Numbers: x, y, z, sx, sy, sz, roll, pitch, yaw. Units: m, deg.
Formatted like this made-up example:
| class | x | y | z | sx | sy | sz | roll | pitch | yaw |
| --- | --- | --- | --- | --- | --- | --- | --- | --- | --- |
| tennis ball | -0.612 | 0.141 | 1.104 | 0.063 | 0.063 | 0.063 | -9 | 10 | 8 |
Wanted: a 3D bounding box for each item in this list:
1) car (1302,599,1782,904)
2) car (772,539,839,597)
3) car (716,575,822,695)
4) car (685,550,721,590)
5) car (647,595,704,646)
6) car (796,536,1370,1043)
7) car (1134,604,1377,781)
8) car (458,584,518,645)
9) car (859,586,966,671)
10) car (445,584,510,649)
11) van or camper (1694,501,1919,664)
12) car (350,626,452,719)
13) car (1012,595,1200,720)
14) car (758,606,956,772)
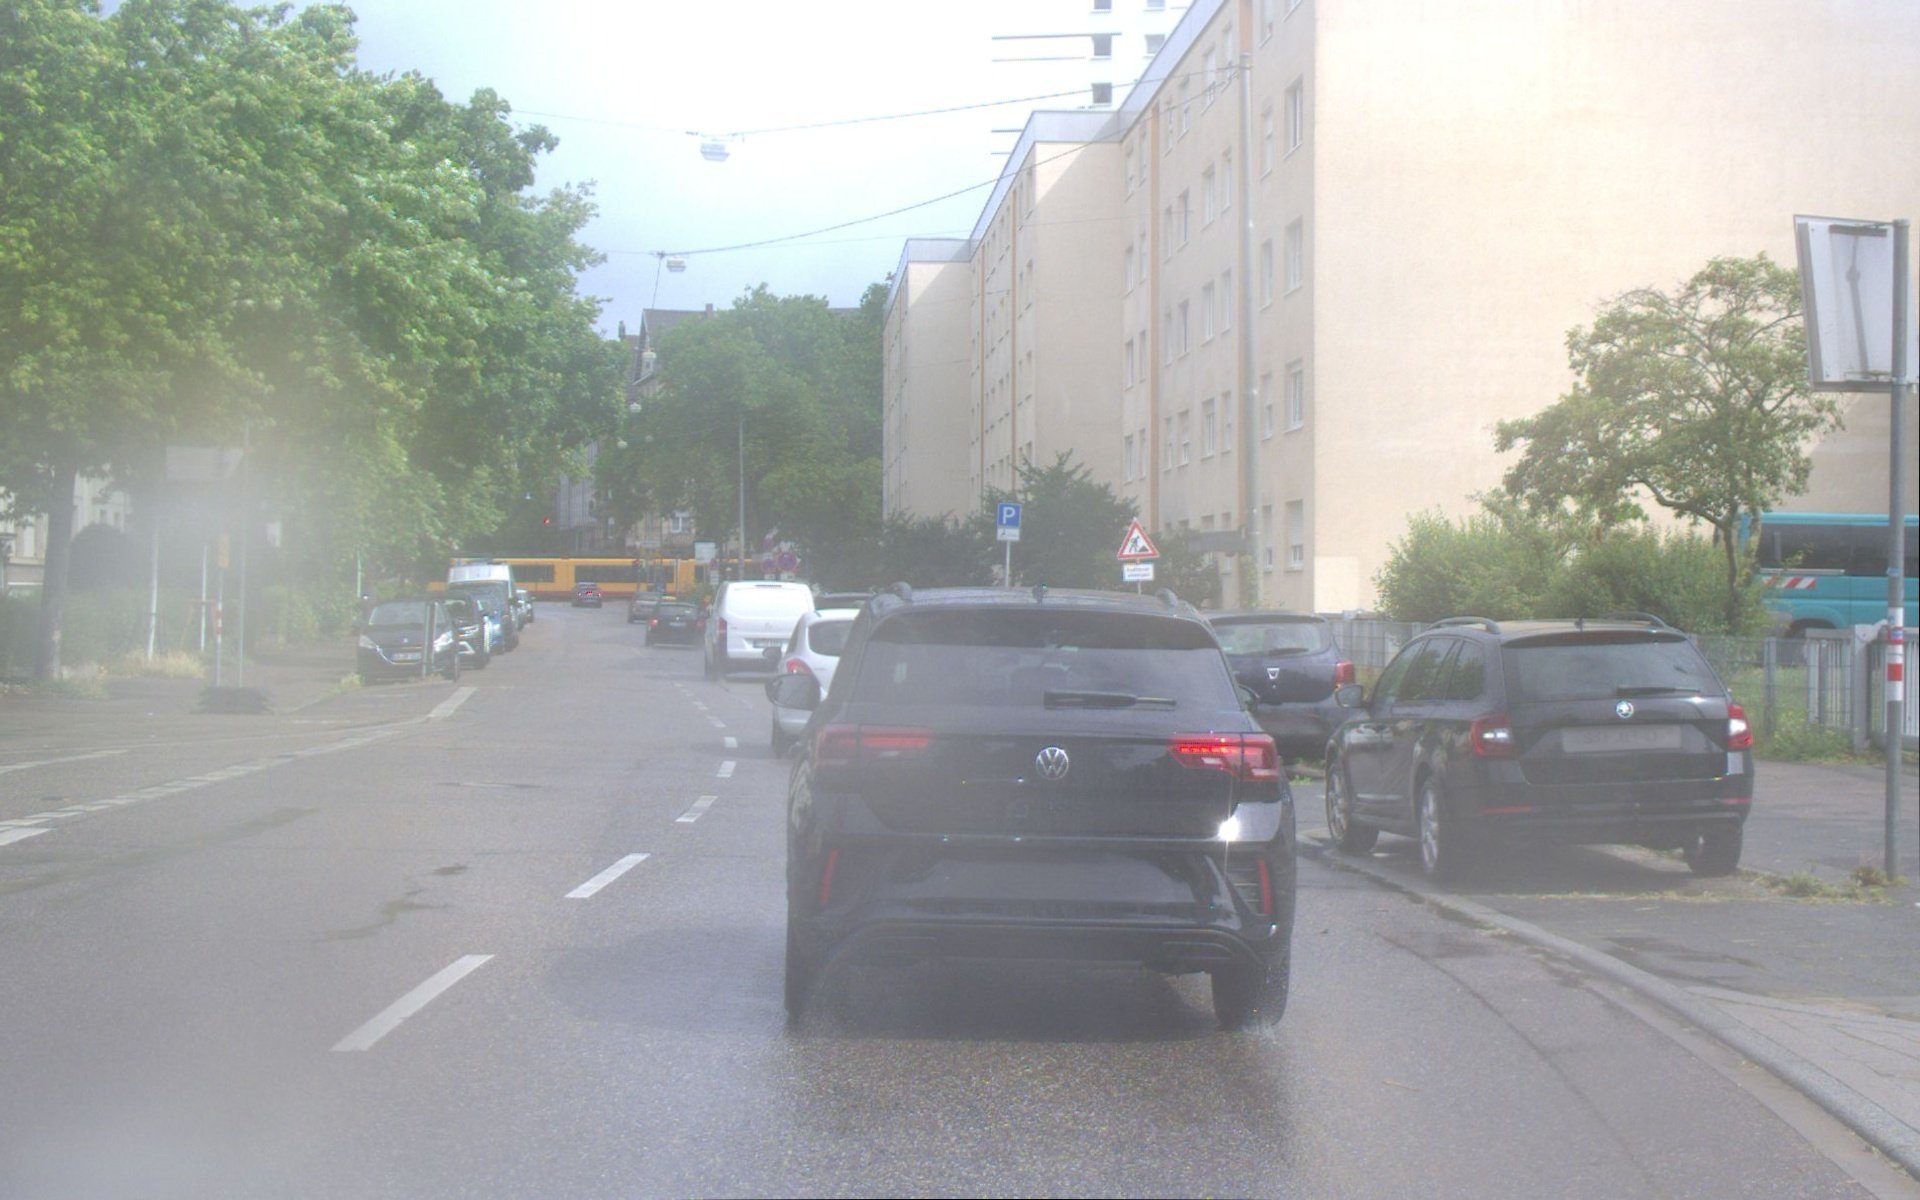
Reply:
| class | x | y | z | sx | sy | sz | roll | pitch | yaw |
| --- | --- | --- | --- | --- | --- | --- | --- | --- | --- |
| car | 3.314 | 0.801 | 20.450 | 1.774 | 1.534 | 4.379 | -2 | 0 | -4 |
| car | -4.449 | -0.919 | 99.458 | 1.840 | 1.602 | 3.675 | -1 | 0 | -2 |
| car | -3.601 | 0.658 | 64.392 | 1.836 | 2.096 | 4.000 | 2 | -1 | -4 |
| car | -12.120 | -1.410 | 161.960 | 1.665 | 1.831 | 4.001 | -1 | 0 | -5 |
| car | -8.722 | 0.602 | 105.086 | 1.604 | 1.505 | 3.549 | -1 | 0 | -6 |
| car | 0.321 | 0.659 | 13.580 | 1.873 | 1.640 | 4.062 | 2 | -1 | -3 |
| car | 2.678 | 0.835 | 31.989 | 1.756 | 1.522 | 4.000 | 1 | -1 | -2 |
| car | -13.138 | 0.389 | 95.892 | 1.585 | 1.634 | 3.921 | -1 | 0 | -7 |
| car | -0.933 | 0.516 | 64.869 | 1.695 | 1.533 | 4.033 | -1 | 0 | -5 |
| car | -12.600 | 0.412 | 89.923 | 1.585 | 1.634 | 3.921 | -1 | 0 | -7 |
| van or camper | 12.517 | -0.236 | 46.332 | 4.759 | 2.124 | 2.321 | 0 | 0 | 1 |
| car | -9.680 | 1.231 | 59.755 | 1.585 | 1.500 | 4.065 | -1 | 0 | -7 |
| car | 1.788 | 0.701 | 43.442 | 1.748 | 1.503 | 4.112 | 1 | 0 | -6 |
| car | -1.066 | 0.868 | 34.461 | 1.813 | 1.498 | 4.000 | 2 | -1 | -3 |
